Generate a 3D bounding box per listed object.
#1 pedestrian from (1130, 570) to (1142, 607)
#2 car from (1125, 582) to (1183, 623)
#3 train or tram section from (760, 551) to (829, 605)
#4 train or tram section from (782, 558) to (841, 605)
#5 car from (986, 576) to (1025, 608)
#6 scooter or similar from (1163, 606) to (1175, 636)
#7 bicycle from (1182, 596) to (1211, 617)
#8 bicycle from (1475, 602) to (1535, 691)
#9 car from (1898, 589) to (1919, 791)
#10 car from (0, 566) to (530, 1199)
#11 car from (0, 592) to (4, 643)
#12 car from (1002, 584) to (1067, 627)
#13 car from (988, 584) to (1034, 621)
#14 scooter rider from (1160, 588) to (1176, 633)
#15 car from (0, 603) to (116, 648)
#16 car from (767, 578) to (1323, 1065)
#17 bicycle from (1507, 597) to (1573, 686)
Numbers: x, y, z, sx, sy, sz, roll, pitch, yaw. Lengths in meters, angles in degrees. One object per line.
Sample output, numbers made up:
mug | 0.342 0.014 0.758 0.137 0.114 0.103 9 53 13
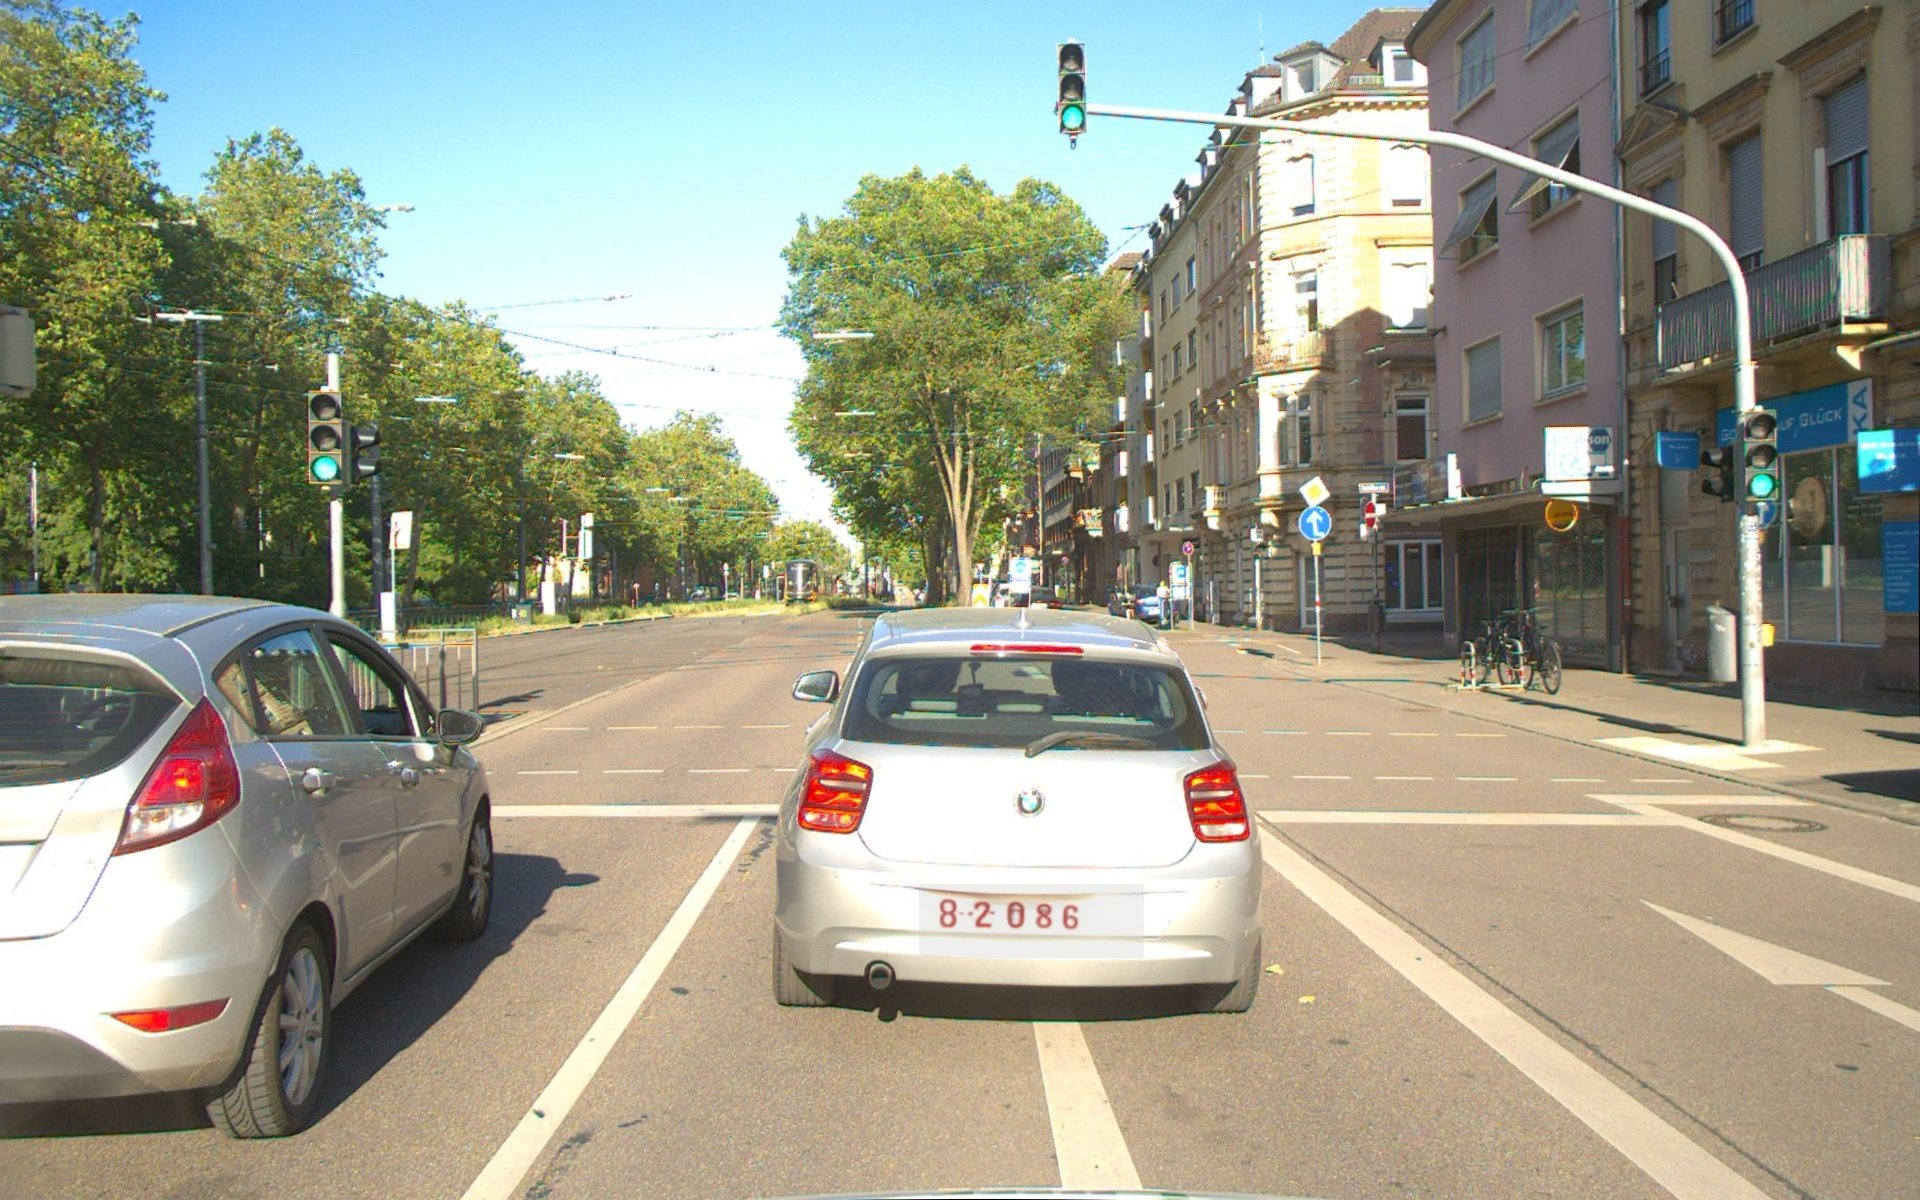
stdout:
pedestrian | 8.933 -0.579 83.970 0.495 1.833 0.805 -1 0 -1
car | 7.447 0.081 63.736 1.700 1.546 3.635 0 1 -2
train or tram section | -12.810 -1.712 129.815 3.888 3.933 17.486 -1 1 -1
train or tram section | -13.074 -1.661 147.382 3.924 3.933 17.486 -1 1 -1
car | 2.247 -0.416 81.768 1.690 1.533 3.553 0 1 -2
scooter or similar | 7.294 0.715 57.813 0.330 1.005 1.285 -1 1 4
bicycle | 9.160 0.250 64.092 0.739 0.784 1.944 -1 1 -2
bicycle | 7.606 0.627 23.128 0.405 1.160 1.811 0 1 5
car | 7.628 0.611 9.985 1.531 1.440 4.003 -4 1 -1
car | -2.630 0.658 5.713 1.578 1.493 3.886 -1 1 -5
car | -29.352 0.544 47.397 1.636 1.536 4.143 -1 1 -2
car | 2.566 0.179 57.810 1.702 1.458 3.673 0 1 -7
car | 2.115 0.085 69.180 1.690 1.533 3.553 0 1 -2
scooter rider | 7.268 0.357 57.853 0.456 1.531 0.811 -1 1 2
car | -29.397 0.823 53.469 1.897 1.372 4.847 -1 0 -2
car | 0.233 0.668 7.122 1.705 1.493 3.999 1 1 -1
bicycle | 8.095 0.559 23.131 0.439 1.179 1.759 -1 1 5
